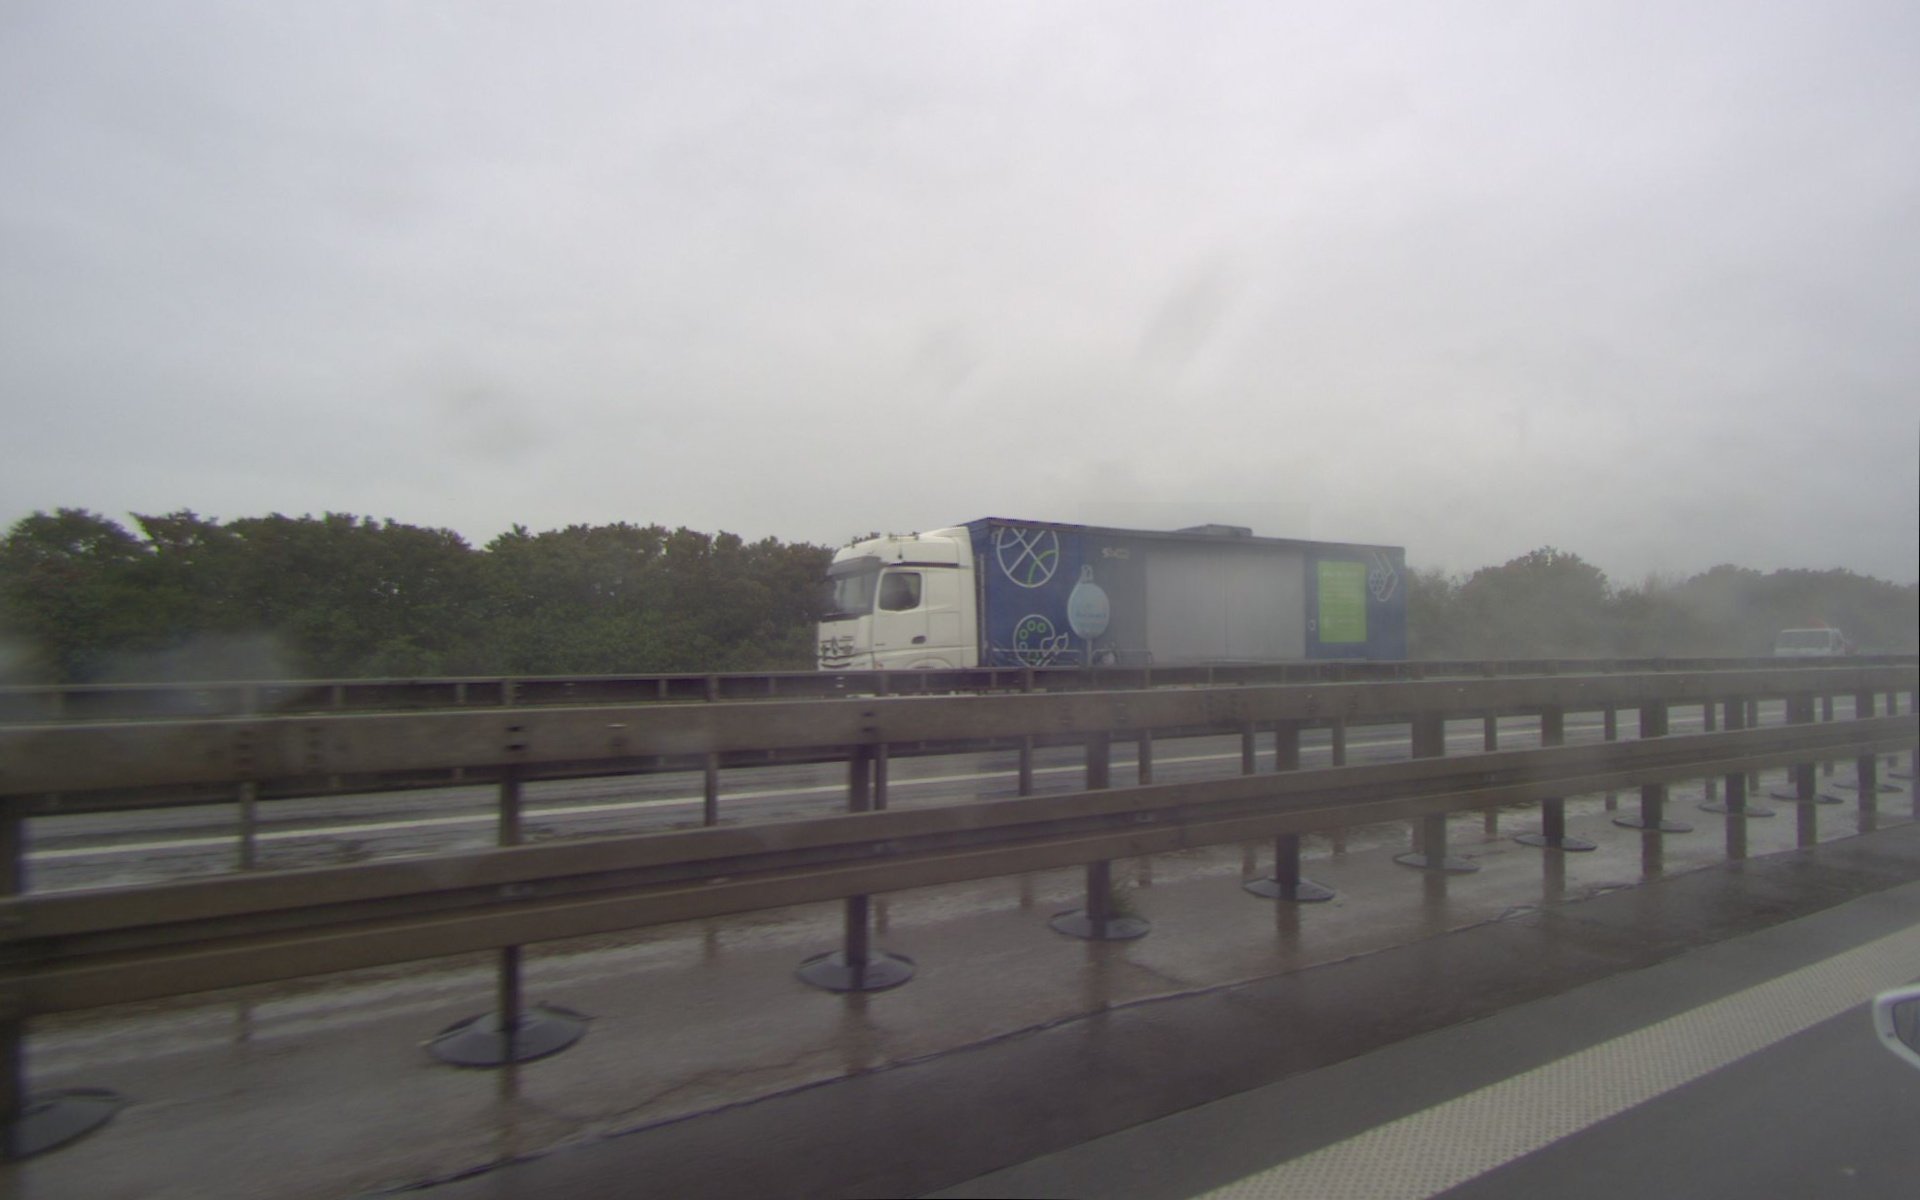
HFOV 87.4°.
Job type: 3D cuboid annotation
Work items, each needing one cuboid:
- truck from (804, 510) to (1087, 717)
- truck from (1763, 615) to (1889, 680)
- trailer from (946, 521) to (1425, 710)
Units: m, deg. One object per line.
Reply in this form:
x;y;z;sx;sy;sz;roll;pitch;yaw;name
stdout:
-0.272;0.303;21.175;5.336;3.856;2.610;1;0;-30;truck
37.882;2.038;43.895;6.191;2.654;2.316;1;0;-31;truck
6.145;0.456;25.020;13.424;3.855;2.621;1;0;-30;trailer
